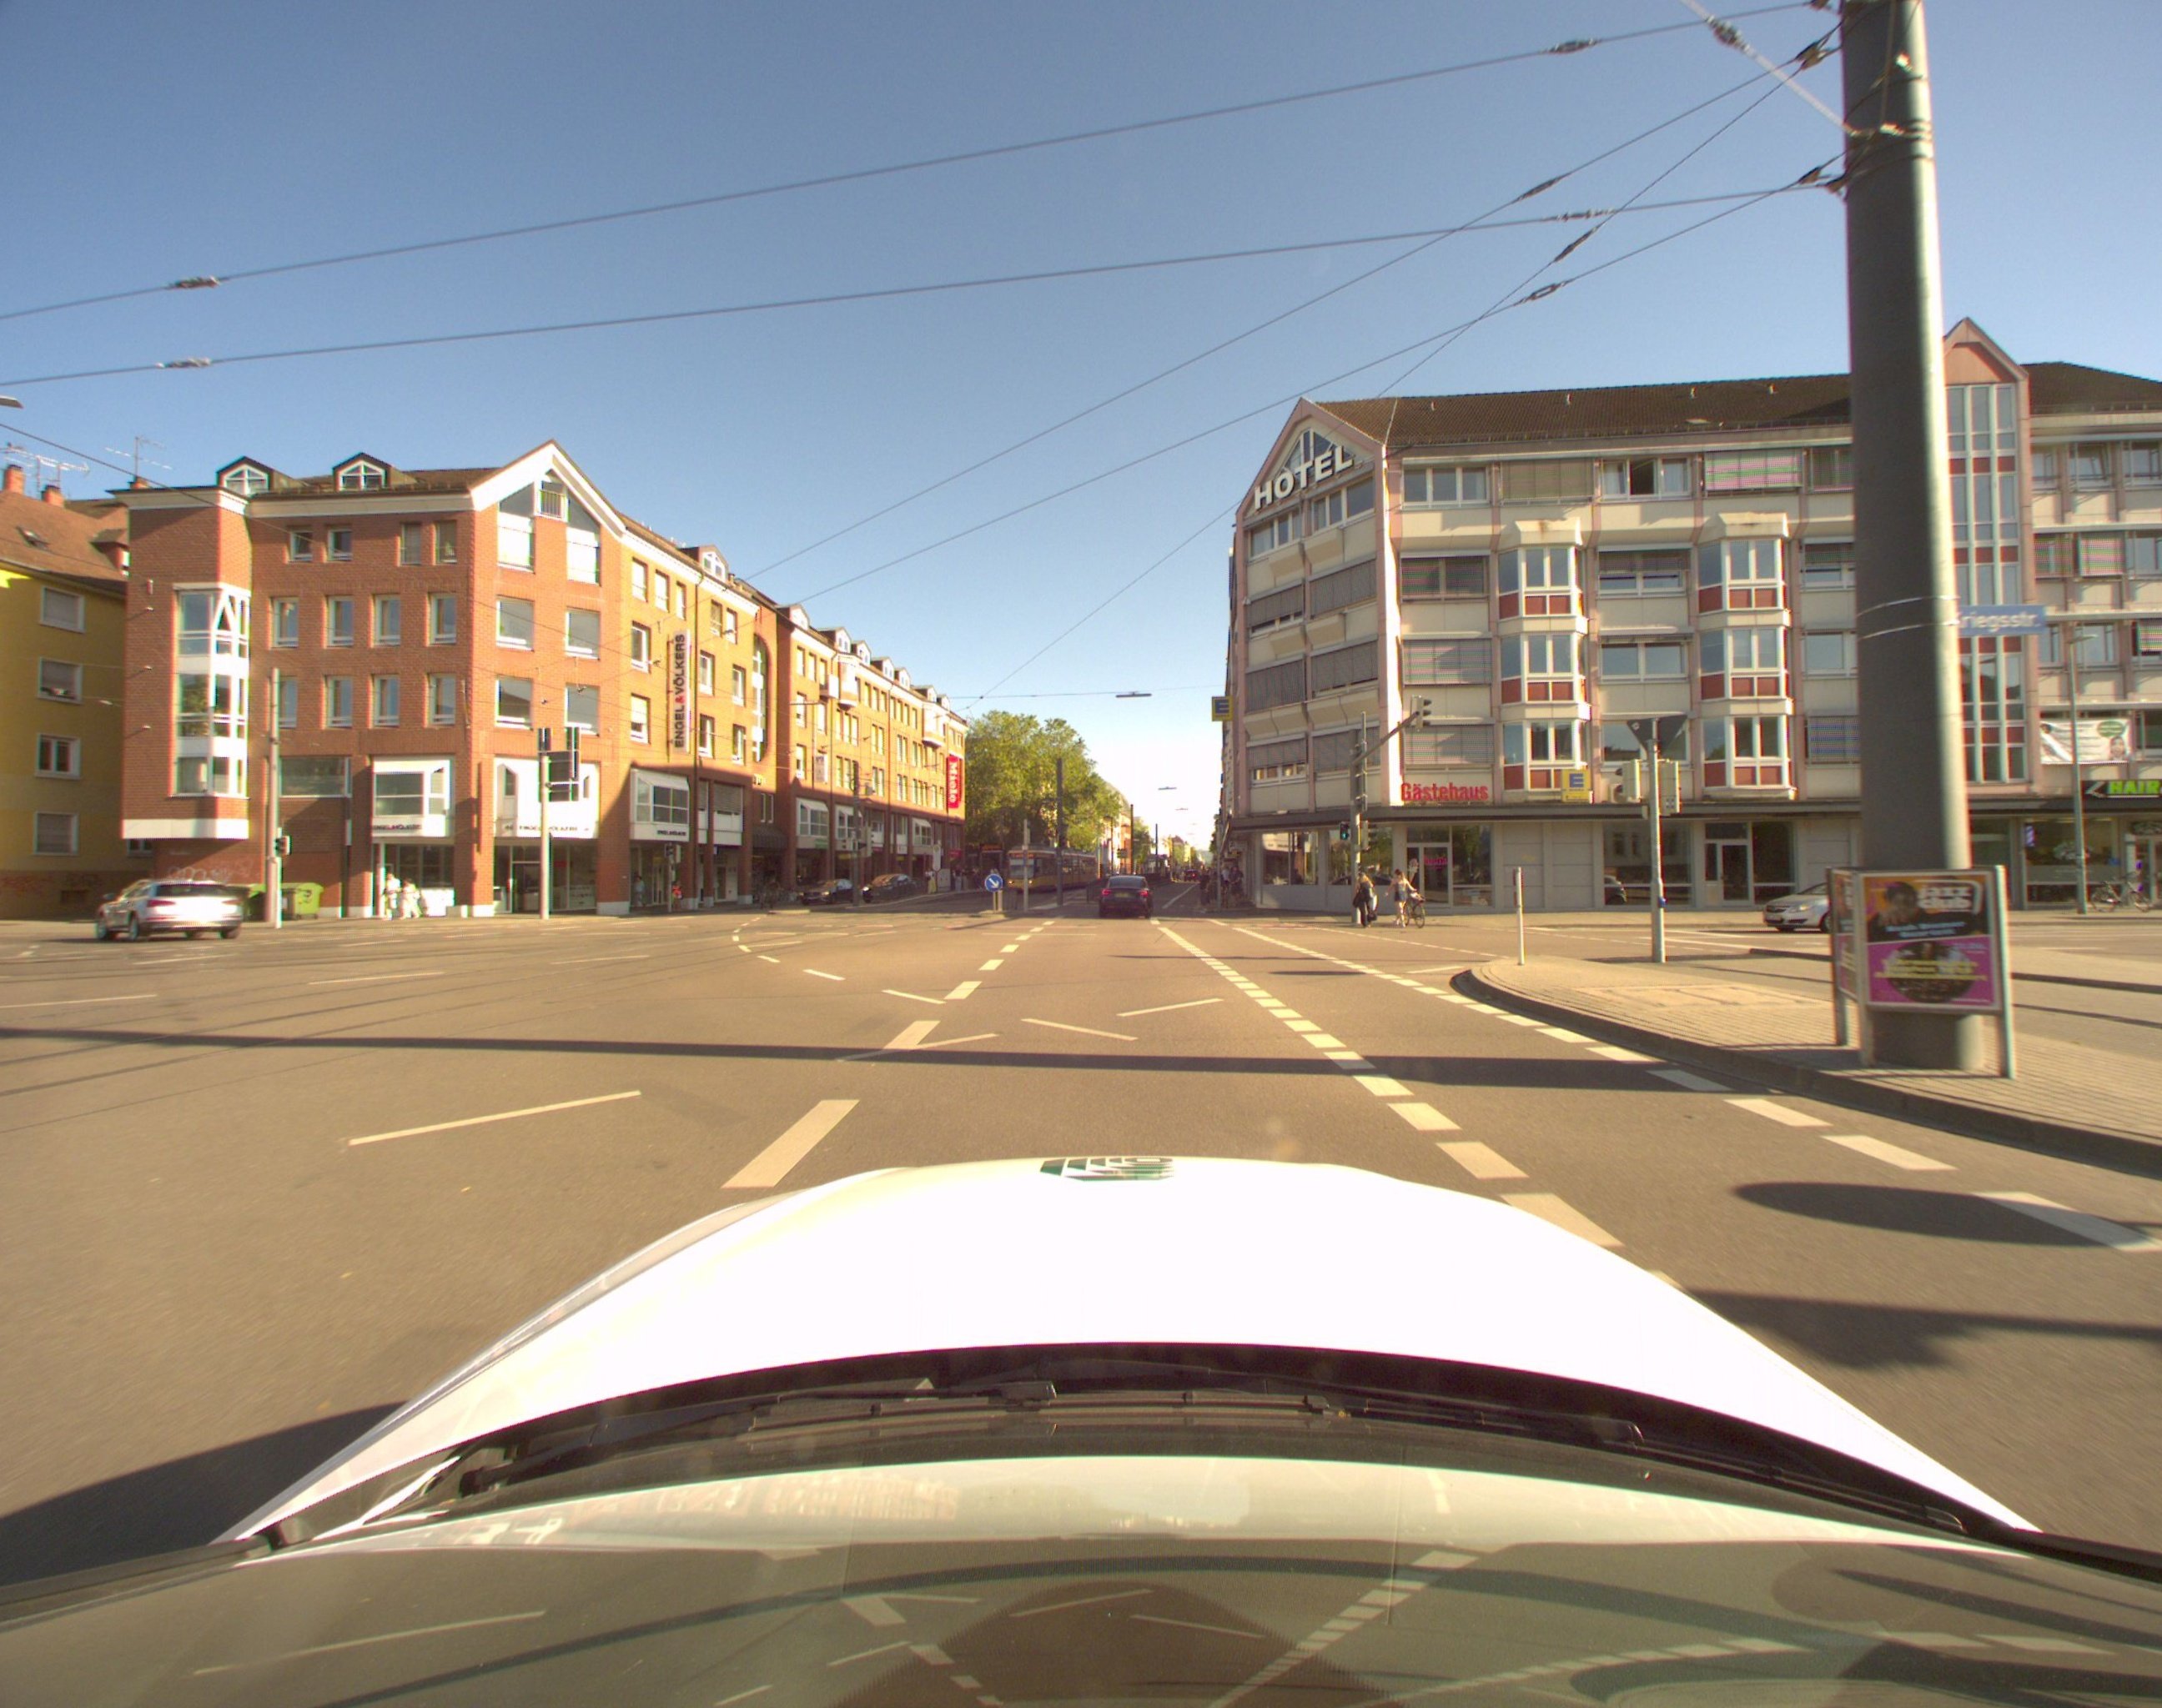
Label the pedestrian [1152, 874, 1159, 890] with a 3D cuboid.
[{"bbox_3d":[8.373,3.131,91.240,0.753,1.770,0.700,0,-2,8],"label":"pedestrian"}]

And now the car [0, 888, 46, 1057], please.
[{"bbox_3d":[-9.339,0.987,5.074,1.774,1.444,4.489,0,-1,-26],"label":"car"}]

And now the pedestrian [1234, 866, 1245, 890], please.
[{"bbox_3d":[11.043,1.674,56.862,0.743,1.678,0.701,0,-2,10],"label":"pedestrian"}]

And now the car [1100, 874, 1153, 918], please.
[{"bbox_3d":[1.642,1.482,29.230,1.783,1.451,3.942,0,-2,3],"label":"car"}]

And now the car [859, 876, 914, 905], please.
[{"bbox_3d":[-11.186,2.109,47.061,1.807,1.544,3.799,-2,-2,7],"label":"car"}]

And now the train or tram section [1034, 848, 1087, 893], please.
[{"bbox_3d":[-1.575,1.461,69.512,2.697,3.547,10.193,0,-2,9],"label":"train or tram section"}]

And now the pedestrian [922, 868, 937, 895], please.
[{"bbox_3d":[-8.866,1.621,47.749,0.630,1.564,0.588,-1,-2,17],"label":"pedestrian"}]

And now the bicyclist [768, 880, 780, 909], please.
[{"bbox_3d":[-15.703,2.069,41.655,0.484,1.471,0.713,1,-2,-24],"label":"bicyclist"}]

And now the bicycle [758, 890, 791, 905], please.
[{"bbox_3d":[-18.050,2.553,47.992,1.750,0.900,0.587,0,-2,7],"label":"bicycle"}]

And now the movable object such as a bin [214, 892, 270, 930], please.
[{"bbox_3d":[-32.856,2.205,31.893,0.992,1.437,1.097,0,-2,2],"label":"movable object such as a bin"}]

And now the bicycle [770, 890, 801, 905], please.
[{"bbox_3d":[-17.880,2.605,49.250,1.701,0.900,0.522,0,-2,7],"label":"bicycle"}]

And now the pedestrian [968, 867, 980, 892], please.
[{"bbox_3d":[-7.413,1.757,56.663,0.630,1.721,0.588,-1,-2,18],"label":"pedestrian"}]

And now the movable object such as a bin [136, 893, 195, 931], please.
[{"bbox_3d":[-36.103,2.275,32.133,0.992,1.437,1.097,0,-2,2],"label":"movable object such as a bin"}]

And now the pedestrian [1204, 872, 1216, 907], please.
[{"bbox_3d":[5.890,1.613,37.061,0.468,1.563,0.547,-1,-2,15],"label":"pedestrian"}]

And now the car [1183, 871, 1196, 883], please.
[{"bbox_3d":[15.503,3.295,116.546,1.729,1.665,3.713,0,-2,5],"label":"car"}]

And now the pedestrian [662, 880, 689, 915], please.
[{"bbox_3d":[-19.111,2.055,38.393,0.708,1.594,0.779,3,-2,9],"label":"pedestrian"}]

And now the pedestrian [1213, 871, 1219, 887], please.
[{"bbox_3d":[16.660,3.064,100.504,0.692,1.897,0.752,0,-2,9],"label":"pedestrian"}]

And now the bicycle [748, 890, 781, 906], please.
[{"bbox_3d":[-18.203,2.526,46.831,1.701,0.900,0.522,0,-2,7],"label":"bicycle"}]

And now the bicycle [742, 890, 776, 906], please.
[{"bbox_3d":[-18.288,2.501,46.252,1.701,0.900,0.522,0,-2,7],"label":"bicycle"}]

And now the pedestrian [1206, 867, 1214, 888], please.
[{"bbox_3d":[11.932,2.196,75.478,0.692,1.897,0.752,0,-2,9],"label":"pedestrian"}]

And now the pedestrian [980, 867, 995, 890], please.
[{"bbox_3d":[-6.722,1.789,58.732,0.995,1.625,0.848,0,-2,1],"label":"pedestrian"}]

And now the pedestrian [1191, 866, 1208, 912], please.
[{"bbox_3d":[4.699,1.379,32.398,0.623,1.783,0.919,0,-2,5],"label":"pedestrian"}]

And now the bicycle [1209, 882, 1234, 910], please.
[{"bbox_3d":[5.942,1.771,34.494,0.488,1.161,1.967,0,-2,-8],"label":"bicycle"}]

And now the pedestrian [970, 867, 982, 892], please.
[{"bbox_3d":[-7.356,1.777,57.291,0.630,1.721,0.612,-1,-2,18],"label":"pedestrian"}]

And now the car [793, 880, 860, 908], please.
[{"bbox_3d":[-14.233,2.224,45.756,1.805,1.454,3.991,-3,-2,13],"label":"car"}]

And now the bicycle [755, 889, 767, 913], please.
[{"bbox_3d":[-16.363,2.377,41.583,0.492,1.158,1.702,1,-2,-24],"label":"bicycle"}]

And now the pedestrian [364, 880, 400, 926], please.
[{"bbox_3d":[-26.822,1.869,31.267,0.685,1.727,0.712,0,-2,2],"label":"pedestrian"}]

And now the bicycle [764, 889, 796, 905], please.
[{"bbox_3d":[-17.981,2.571,48.638,1.701,0.900,0.522,0,-2,7],"label":"bicycle"}]

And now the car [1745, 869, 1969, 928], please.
[{"bbox_3d":[19.738,1.150,20.881,3.821,1.432,1.806,-1,-4,6],"label":"car"}]

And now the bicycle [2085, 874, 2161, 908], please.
[{"bbox_3d":[33.125,1.168,25.767,1.959,1.049,0.537,0,-2,3],"label":"bicycle"}]

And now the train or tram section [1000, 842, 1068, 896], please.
[{"bbox_3d":[-3.251,1.168,59.504,2.712,3.543,10.111,0,-2,10],"label":"train or tram section"}]

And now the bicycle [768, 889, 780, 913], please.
[{"bbox_3d":[-15.717,2.405,41.668,0.492,1.158,1.668,1,-2,-24],"label":"bicycle"}]

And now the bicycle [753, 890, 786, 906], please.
[{"bbox_3d":[-18.133,2.544,47.411,1.701,0.900,0.522,0,-2,7],"label":"bicycle"}]

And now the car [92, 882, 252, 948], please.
[{"bbox_3d":[-24.434,1.571,21.909,3.443,1.635,1.855,-1,-2,24],"label":"car"}]

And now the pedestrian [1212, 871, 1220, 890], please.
[{"bbox_3d":[13.431,2.601,81.063,0.692,1.897,0.752,0,-2,9],"label":"pedestrian"}]

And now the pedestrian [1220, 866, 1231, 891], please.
[{"bbox_3d":[9.741,1.671,54.791,0.692,1.678,0.752,0,-2,9],"label":"pedestrian"}]

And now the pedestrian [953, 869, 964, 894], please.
[{"bbox_3d":[-7.472,1.654,49.637,0.582,1.531,0.637,0,-2,-3],"label":"pedestrian"}]

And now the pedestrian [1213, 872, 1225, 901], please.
[{"bbox_3d":[7.861,1.842,46.377,0.692,1.678,0.752,0,-2,9],"label":"pedestrian"}]

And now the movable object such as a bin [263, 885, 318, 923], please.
[{"bbox_3d":[-30.708,1.927,31.659,0.992,1.437,1.097,0,-2,2],"label":"movable object such as a bin"}]

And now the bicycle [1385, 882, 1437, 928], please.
[{"bbox_3d":[9.771,1.493,24.204,0.543,1.285,1.902,0,-2,-7],"label":"bicycle"}]

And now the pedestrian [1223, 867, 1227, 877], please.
[{"bbox_3d":[26.880,3.384,152.194,0.692,1.879,0.752,0,-2,10],"label":"pedestrian"}]

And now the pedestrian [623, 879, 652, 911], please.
[{"bbox_3d":[-21.826,1.996,40.087,0.875,1.568,0.869,-1,-2,30],"label":"pedestrian"}]

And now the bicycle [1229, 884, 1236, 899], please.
[{"bbox_3d":[8.887,2.207,47.774,0.412,0.857,1.241,0,-2,11],"label":"bicycle"}]

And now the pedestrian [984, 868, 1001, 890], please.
[{"bbox_3d":[-6.520,1.841,59.888,1.101,1.625,0.848,0,-2,1],"label":"pedestrian"}]

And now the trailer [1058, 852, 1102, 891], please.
[{"bbox_3d":[0.021,1.765,79.159,2.697,3.547,9.381,0,-2,9],"label":"trailer"}]

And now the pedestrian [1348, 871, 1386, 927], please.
[{"bbox_3d":[8.341,1.306,23.775,0.777,1.576,0.866,0,-1,-3],"label":"pedestrian"}]

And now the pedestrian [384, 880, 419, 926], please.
[{"bbox_3d":[-26.057,1.880,31.224,0.685,1.727,0.712,0,-2,2],"label":"pedestrian"}]

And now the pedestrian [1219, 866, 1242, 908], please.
[{"bbox_3d":[6.364,1.388,34.600,0.908,1.755,0.842,-1,-2,13],"label":"pedestrian"}]

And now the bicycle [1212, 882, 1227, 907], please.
[{"bbox_3d":[6.244,1.803,36.603,0.485,1.102,2.132,-1,-2,14],"label":"bicycle"}]

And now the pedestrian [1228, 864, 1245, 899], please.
[{"bbox_3d":[7.586,1.354,39.783,0.685,1.689,0.670,0,-2,-5],"label":"pedestrian"}]

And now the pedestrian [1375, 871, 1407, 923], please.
[{"bbox_3d":[9.365,1.290,24.618,0.525,1.555,0.865,0,-2,-9],"label":"pedestrian"}]

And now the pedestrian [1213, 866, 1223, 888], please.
[{"bbox_3d":[10.705,1.821,63.588,0.692,1.678,0.752,0,-2,9],"label":"pedestrian"}]

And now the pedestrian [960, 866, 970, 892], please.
[{"bbox_3d":[-7.769,1.658,54.361,0.635,1.721,0.583,0,-2,-10],"label":"pedestrian"}]
